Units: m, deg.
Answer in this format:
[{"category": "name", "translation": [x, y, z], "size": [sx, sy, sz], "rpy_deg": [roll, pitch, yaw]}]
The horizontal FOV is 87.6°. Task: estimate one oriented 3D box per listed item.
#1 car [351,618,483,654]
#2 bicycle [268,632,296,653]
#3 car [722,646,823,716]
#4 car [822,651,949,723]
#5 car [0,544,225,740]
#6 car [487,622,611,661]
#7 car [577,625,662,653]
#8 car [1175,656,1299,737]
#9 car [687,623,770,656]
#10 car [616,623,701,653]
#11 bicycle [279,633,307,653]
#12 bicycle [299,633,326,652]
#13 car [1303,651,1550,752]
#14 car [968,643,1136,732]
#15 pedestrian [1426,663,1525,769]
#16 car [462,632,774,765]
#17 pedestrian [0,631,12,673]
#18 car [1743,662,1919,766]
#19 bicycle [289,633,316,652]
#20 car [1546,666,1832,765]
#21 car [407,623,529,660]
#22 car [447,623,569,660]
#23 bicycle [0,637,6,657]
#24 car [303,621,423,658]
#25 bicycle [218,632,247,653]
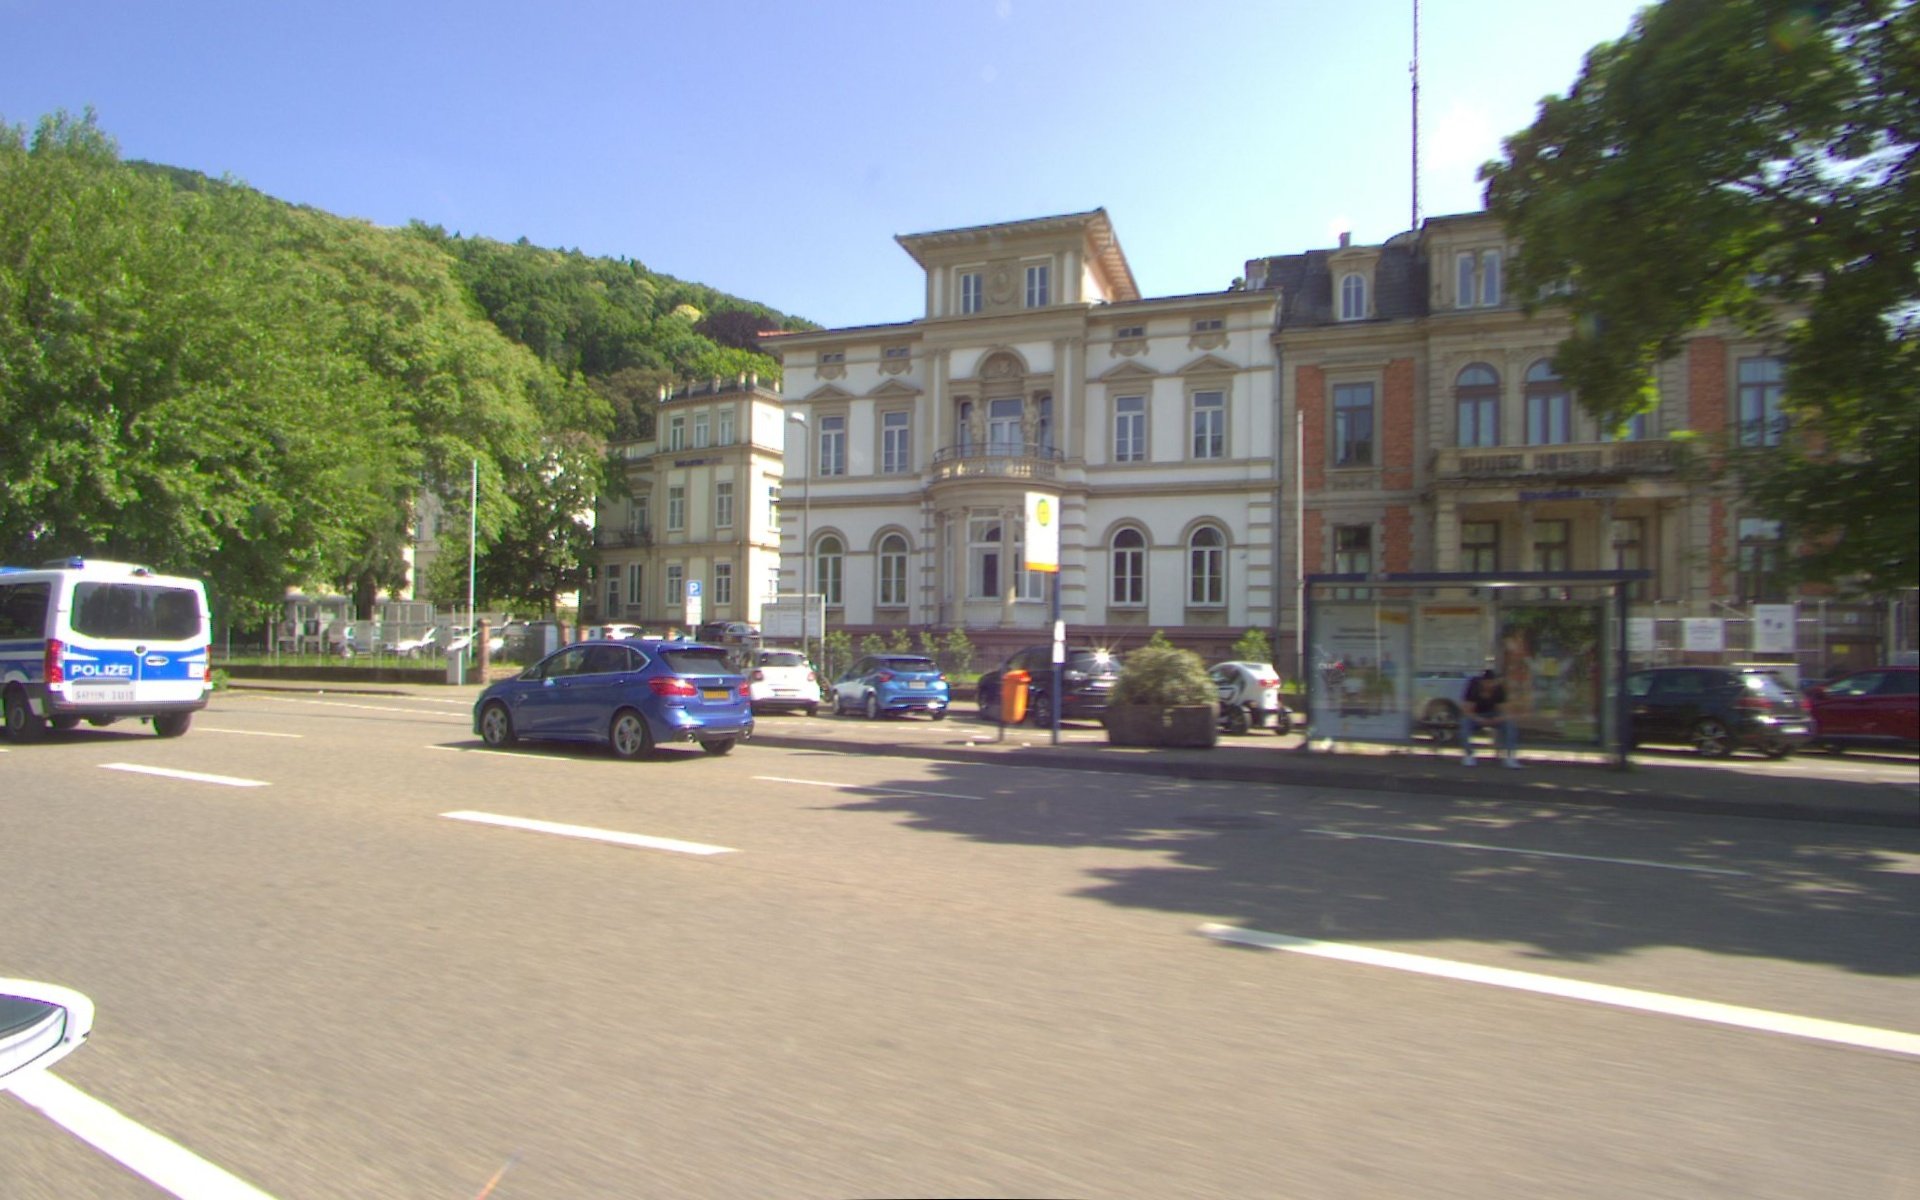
[{"category": "car", "translation": [-21.650, 1.449, 40.130], "size": [1.792, 1.353, 4.468], "rpy_deg": [0, -2, 25]}, {"category": "bicycle", "translation": [-37.741, 2.366, 55.741], "size": [1.807, 1.099, 0.537], "rpy_deg": [0, -1, 30]}, {"category": "car", "translation": [-4.609, 1.898, 24.256], "size": [1.686, 1.530, 3.802], "rpy_deg": [2, -3, -22]}, {"category": "car", "translation": [-1.796, 1.947, 23.088], "size": [1.687, 1.460, 3.799], "rpy_deg": [2, -3, -25]}, {"category": "car", "translation": [-13.561, 0.632, 15.045], "size": [4.851, 2.540, 2.074], "rpy_deg": [-1, -3, 27]}, {"category": "car", "translation": [-15.272, 1.551, 37.427], "size": [1.959, 1.353, 4.042], "rpy_deg": [0, -2, 25]}, {"category": "car", "translation": [-17.290, 1.975, 51.022], "size": [1.792, 1.353, 4.078], "rpy_deg": [0, -2, 25]}, {"category": "car", "translation": [5.551, 1.905, 20.229], "size": [1.184, 1.501, 2.279], "rpy_deg": [2, -3, -28]}, {"category": "car", "translation": [-11.215, 1.895, 48.756], "size": [1.835, 1.528, 4.051], "rpy_deg": [0, -2, 25]}, {"category": "car", "translation": [-14.950, 1.893, 49.866], "size": [1.792, 1.437, 4.051], "rpy_deg": [0, -2, 25]}, {"category": "bicycle", "translation": [-37.511, 2.387, 56.317], "size": [1.807, 1.099, 0.537], "rpy_deg": [0, -1, 30]}, {"category": "bicycle", "translation": [-37.157, 2.428, 57.483], "size": [1.807, 1.099, 0.537], "rpy_deg": [0, -1, 30]}, {"category": "car", "translation": [8.749, 1.841, 19.204], "size": [1.686, 1.650, 4.304], "rpy_deg": [2, -3, -22]}, {"category": "car", "translation": [1.853, 1.800, 21.583], "size": [1.687, 1.717, 4.260], "rpy_deg": [2, -3, -25]}, {"category": "pedestrian", "translation": [6.347, 1.403, 12.379], "size": [0.776, 1.213, 1.022], "rpy_deg": [1, -2, 7]}, {"category": "car", "translation": [-4.798, 1.283, 13.932], "size": [4.206, 1.560, 1.719], "rpy_deg": [0, -3, 29]}, {"category": "pedestrian", "translation": [-38.513, 2.065, 39.927], "size": [0.816, 1.683, 0.771], "rpy_deg": [0, -2, 28]}, {"category": "car", "translation": [15.789, 1.882, 16.809], "size": [1.720, 1.594, 3.871], "rpy_deg": [2, -3, -18]}, {"category": "bicycle", "translation": [-37.388, 2.407, 56.925], "size": [1.807, 1.099, 0.537], "rpy_deg": [0, -1, 30]}, {"category": "car", "translation": [12.399, 1.906, 17.335], "size": [1.578, 1.434, 3.814], "rpy_deg": [2, -3, -18]}, {"category": "car", "translation": [-19.236, 1.620, 39.325], "size": [1.792, 1.353, 4.087], "rpy_deg": [0, -2, 25]}, {"category": "car", "translation": [-17.291, 1.589, 38.483], "size": [1.830, 1.353, 4.042], "rpy_deg": [0, -2, 25]}, {"category": "bicycle", "translation": [-46.378, 2.239, 48.110], "size": [1.320, 0.953, 0.405], "rpy_deg": [0, -1, 28]}, {"category": "car", "translation": [-25.504, 1.680, 42.921], "size": [1.846, 1.494, 4.147], "rpy_deg": [0, -2, 23]}, {"category": "bicycle", "translation": [-38.952, 2.285, 53.590], "size": [1.807, 1.099, 0.537], "rpy_deg": [0, -1, 30]}]
